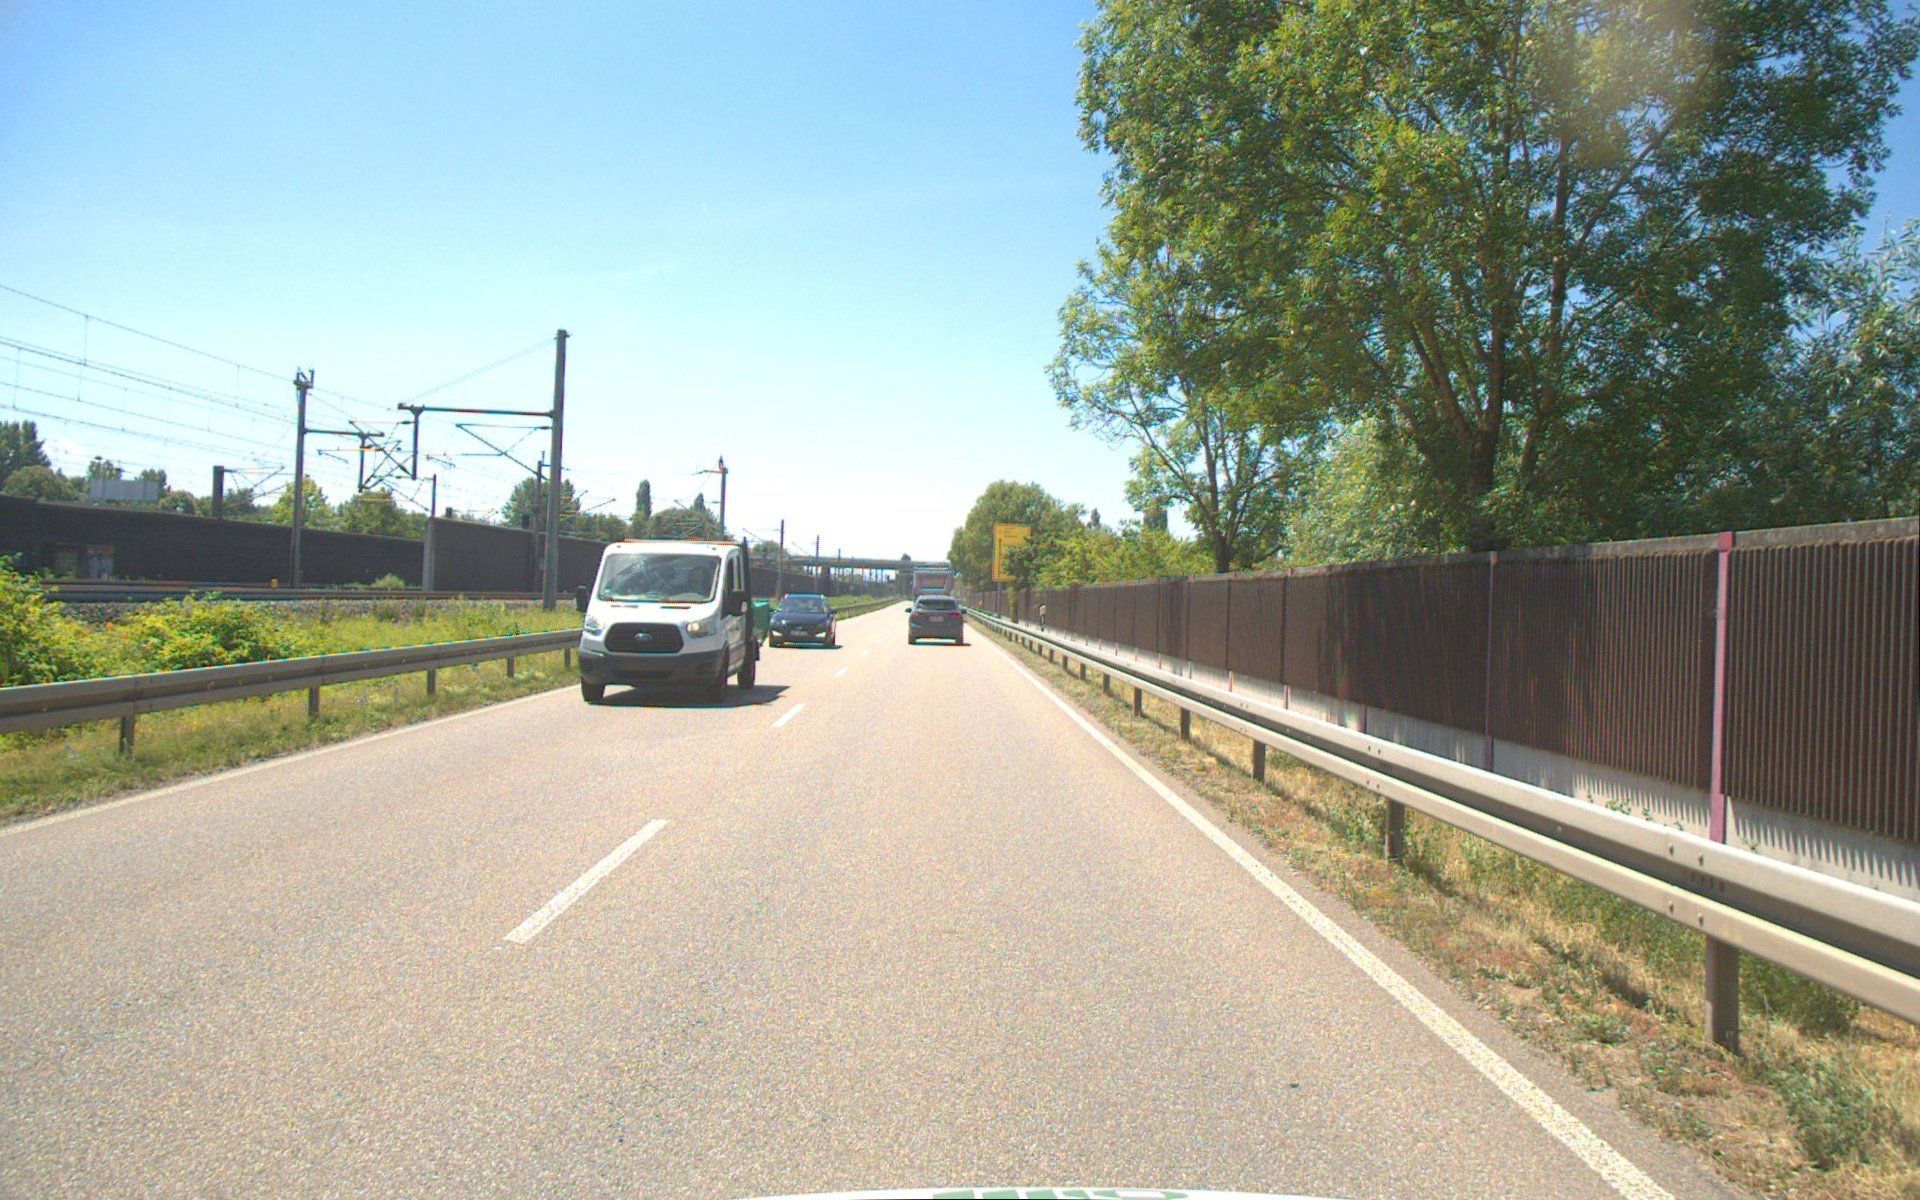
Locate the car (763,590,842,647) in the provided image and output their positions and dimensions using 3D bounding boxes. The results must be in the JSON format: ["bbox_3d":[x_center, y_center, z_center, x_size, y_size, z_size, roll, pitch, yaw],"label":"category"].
[{"bbox_3d":[-4.516,0.513,47.943,1.935,1.534,4.162,1,0,-1],"label":"car"}]

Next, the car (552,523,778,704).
[{"bbox_3d":[-4.213,0.174,24.803,2.215,2.327,6.235,1,0,0],"label":"car"}]

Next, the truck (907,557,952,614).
[{"bbox_3d":[-1.960,-0.907,106.893,2.714,3.485,10.817,1,0,-1],"label":"truck"}]

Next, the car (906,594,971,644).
[{"bbox_3d":[-0.743,0.591,54.035,1.954,1.534,3.998,0,0,-3],"label":"car"}]
